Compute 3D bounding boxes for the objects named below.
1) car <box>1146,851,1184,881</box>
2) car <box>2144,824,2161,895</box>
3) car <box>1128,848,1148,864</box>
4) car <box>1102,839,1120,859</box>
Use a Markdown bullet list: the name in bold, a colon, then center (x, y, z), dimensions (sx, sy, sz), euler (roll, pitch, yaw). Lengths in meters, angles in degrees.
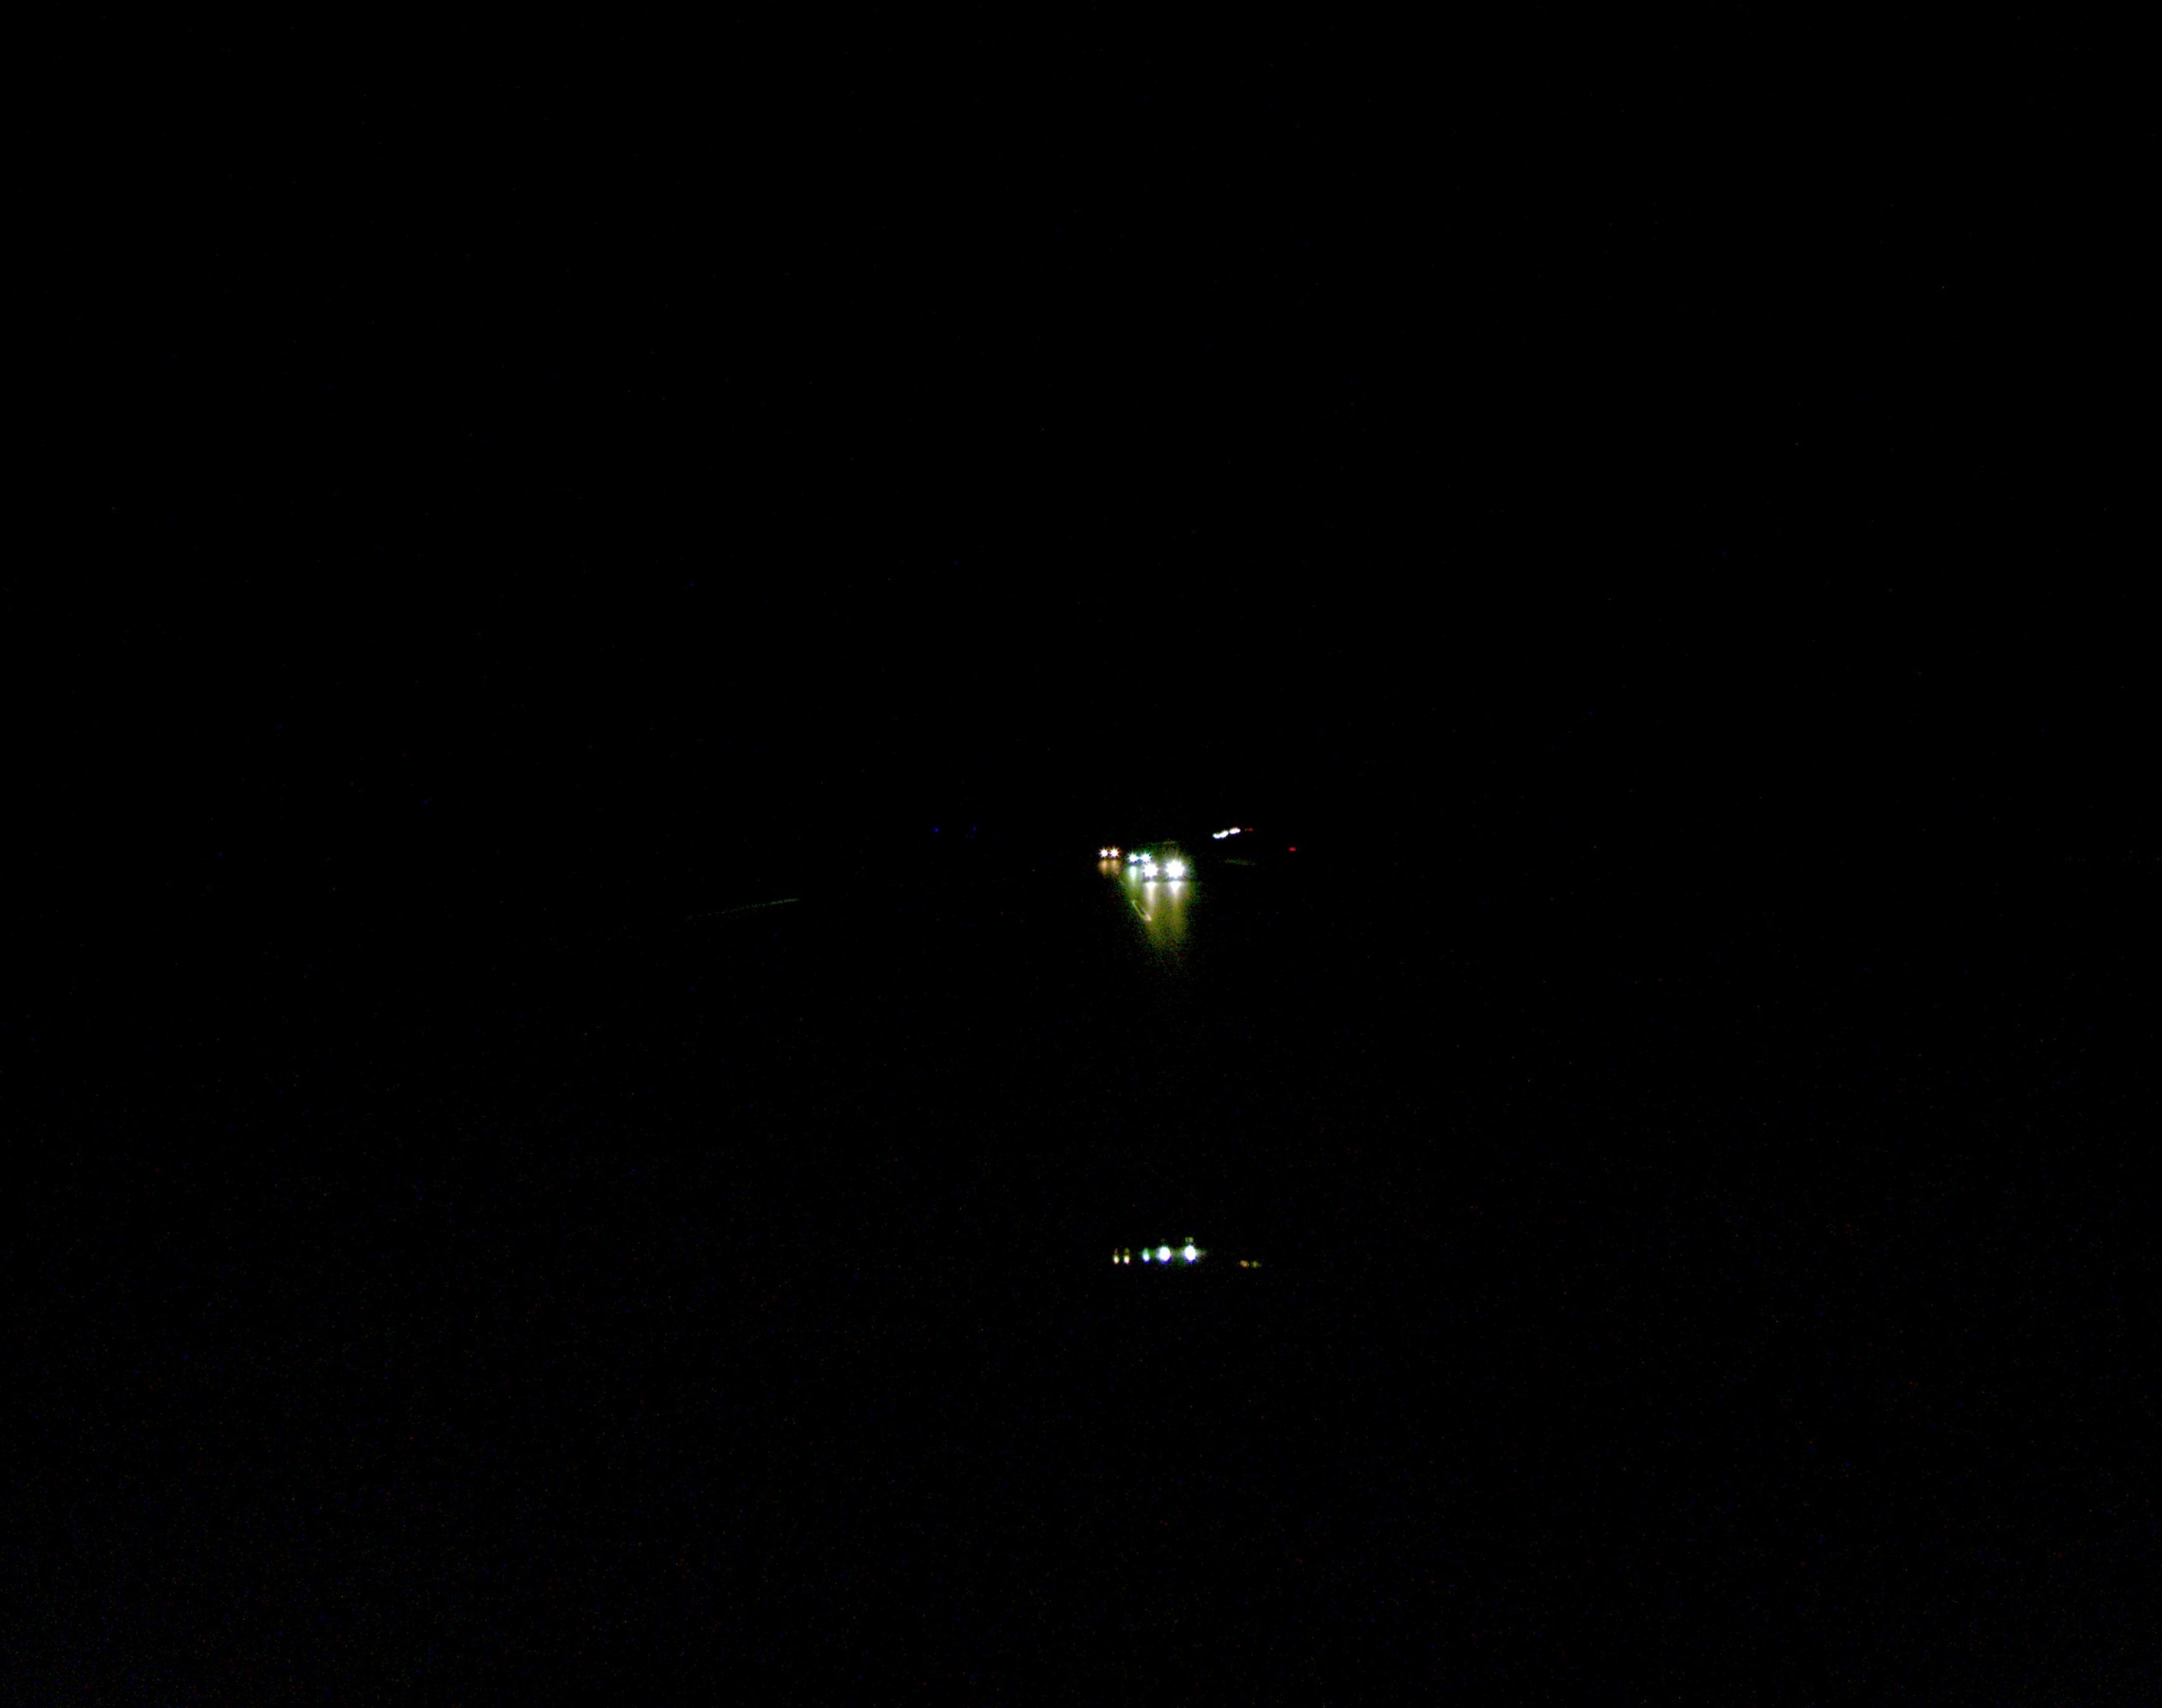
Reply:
- **car**: center (4.529, 0.620, 41.300), dimensions (1.832, 1.404, 4.000), euler (-2, 1, 4)
- **car**: center (23.798, 0.097, 14.296), dimensions (1.998, 1.499, 4.000), euler (-2, 0, 1)
- **car**: center (6.046, 0.178, 80.057), dimensions (1.998, 1.456, 4.001), euler (-2, 1, 6)
- **car**: center (4.577, -0.770, 113.854), dimensions (2.533, 2.889, 6.227), euler (-2, 1, 3)
